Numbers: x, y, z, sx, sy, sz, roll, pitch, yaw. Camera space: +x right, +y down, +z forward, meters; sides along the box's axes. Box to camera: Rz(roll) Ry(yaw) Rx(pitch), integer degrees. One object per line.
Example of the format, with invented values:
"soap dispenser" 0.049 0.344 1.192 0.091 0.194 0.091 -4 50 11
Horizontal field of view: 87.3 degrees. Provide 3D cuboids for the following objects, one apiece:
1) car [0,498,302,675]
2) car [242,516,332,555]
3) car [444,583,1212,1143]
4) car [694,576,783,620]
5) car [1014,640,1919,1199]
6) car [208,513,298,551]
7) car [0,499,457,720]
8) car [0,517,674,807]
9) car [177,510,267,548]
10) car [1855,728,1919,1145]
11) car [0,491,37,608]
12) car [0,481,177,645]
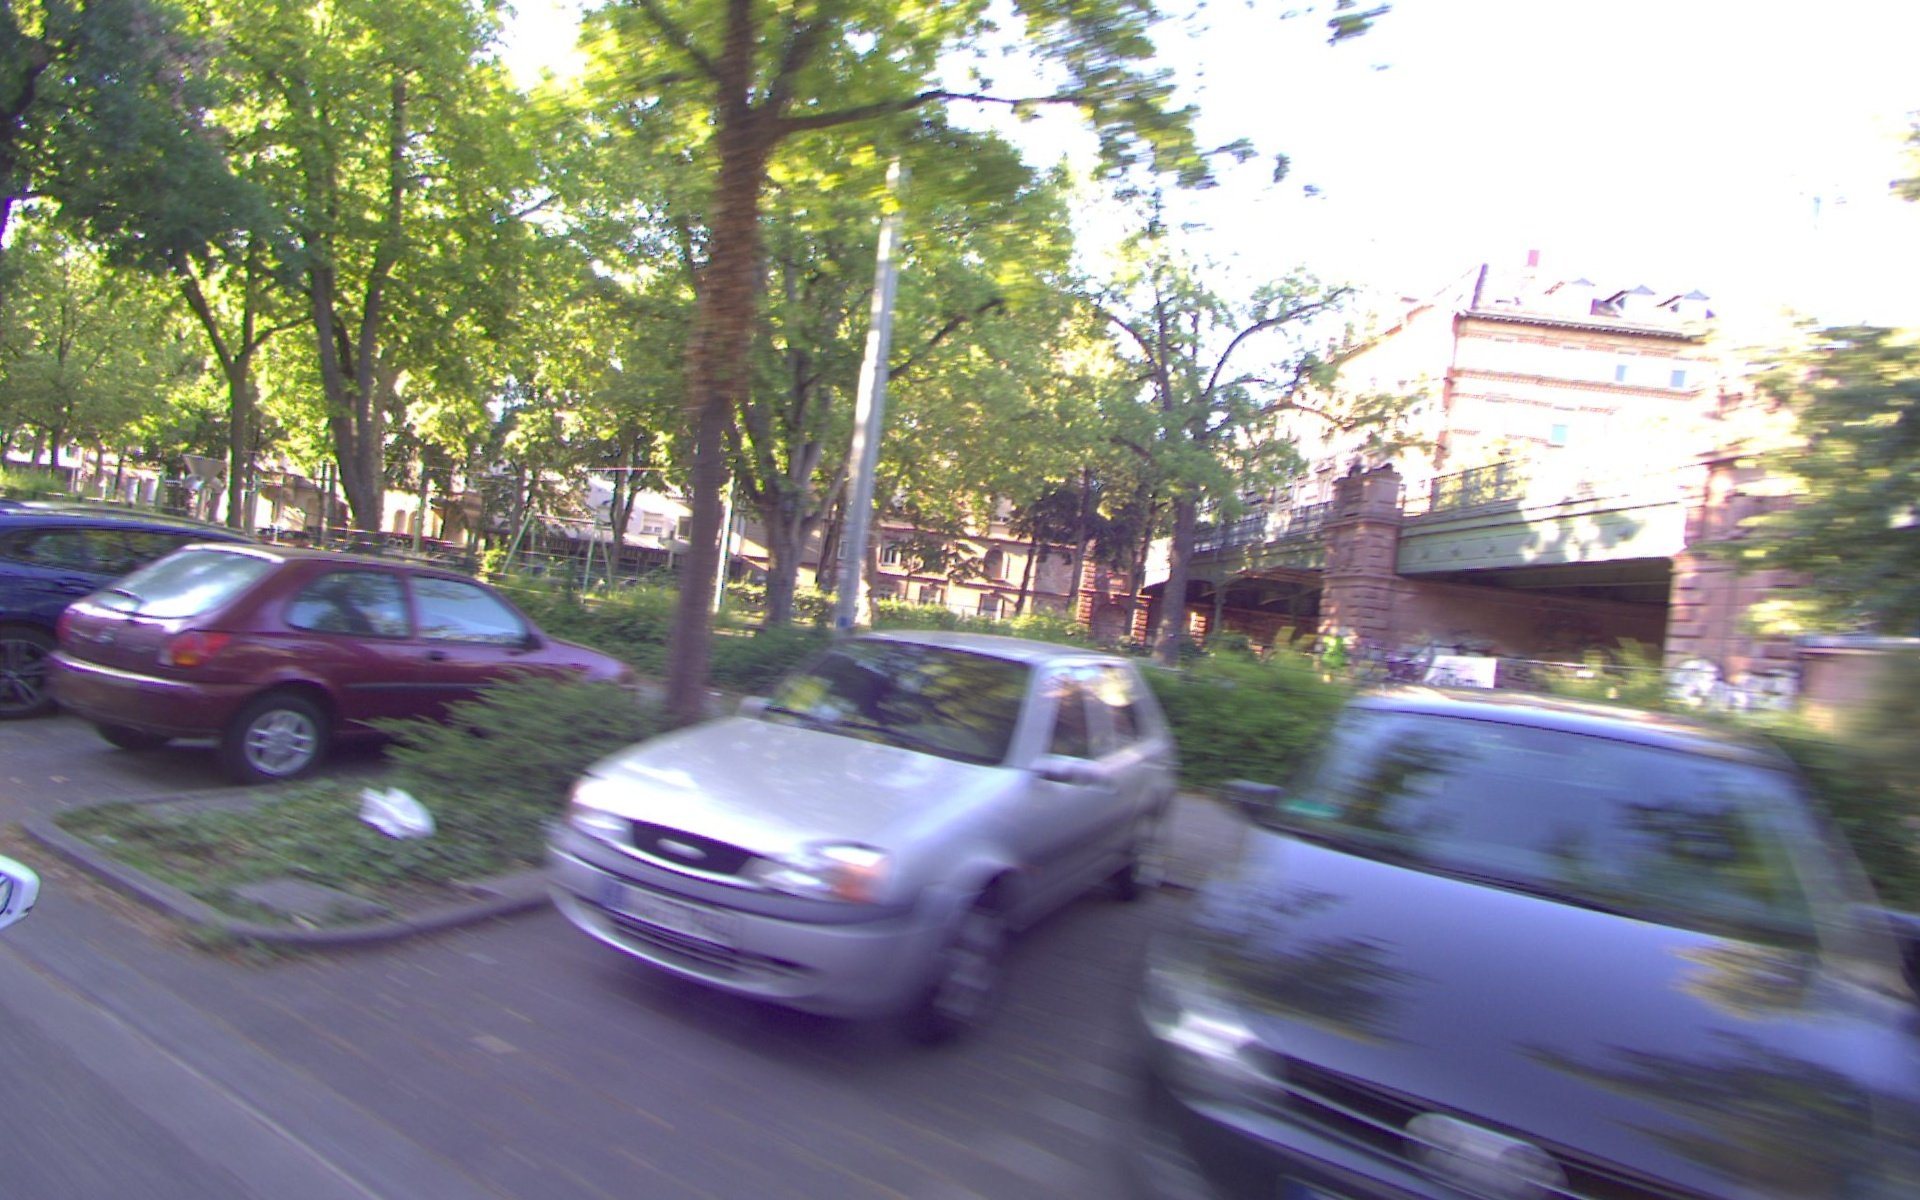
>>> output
"car" -8.653 -0.145 9.399 1.637 1.491 3.787 5 -1 31
"car" -40.997 -3.930 61.404 1.966 1.702 3.998 5 -3 28
"car" -0.144 0.838 4.799 1.636 1.418 3.790 5 -1 28
"car" -13.372 -0.102 60.913 4.648 2.036 2.003 6 -2 8
"car" 1.852 0.989 3.259 1.796 1.418 3.788 5 -1 30
"car" -43.884 -4.200 62.489 1.966 1.702 3.998 5 -3 28
"car" -6.387 0.102 8.094 1.638 1.464 3.784 5 -1 34
"car" -4.075 0.408 7.246 1.735 1.418 3.792 5 -1 25
"car" -46.427 -4.442 63.357 1.966 1.702 3.998 5 -3 28
"car" 3.741 1.218 2.137 1.606 1.490 3.792 5 -1 25
"car" -14.977 -0.905 12.831 1.638 1.596 4.402 5 -1 34
"car" -10.888 -0.491 10.556 1.636 1.666 3.789 5 -1 29
